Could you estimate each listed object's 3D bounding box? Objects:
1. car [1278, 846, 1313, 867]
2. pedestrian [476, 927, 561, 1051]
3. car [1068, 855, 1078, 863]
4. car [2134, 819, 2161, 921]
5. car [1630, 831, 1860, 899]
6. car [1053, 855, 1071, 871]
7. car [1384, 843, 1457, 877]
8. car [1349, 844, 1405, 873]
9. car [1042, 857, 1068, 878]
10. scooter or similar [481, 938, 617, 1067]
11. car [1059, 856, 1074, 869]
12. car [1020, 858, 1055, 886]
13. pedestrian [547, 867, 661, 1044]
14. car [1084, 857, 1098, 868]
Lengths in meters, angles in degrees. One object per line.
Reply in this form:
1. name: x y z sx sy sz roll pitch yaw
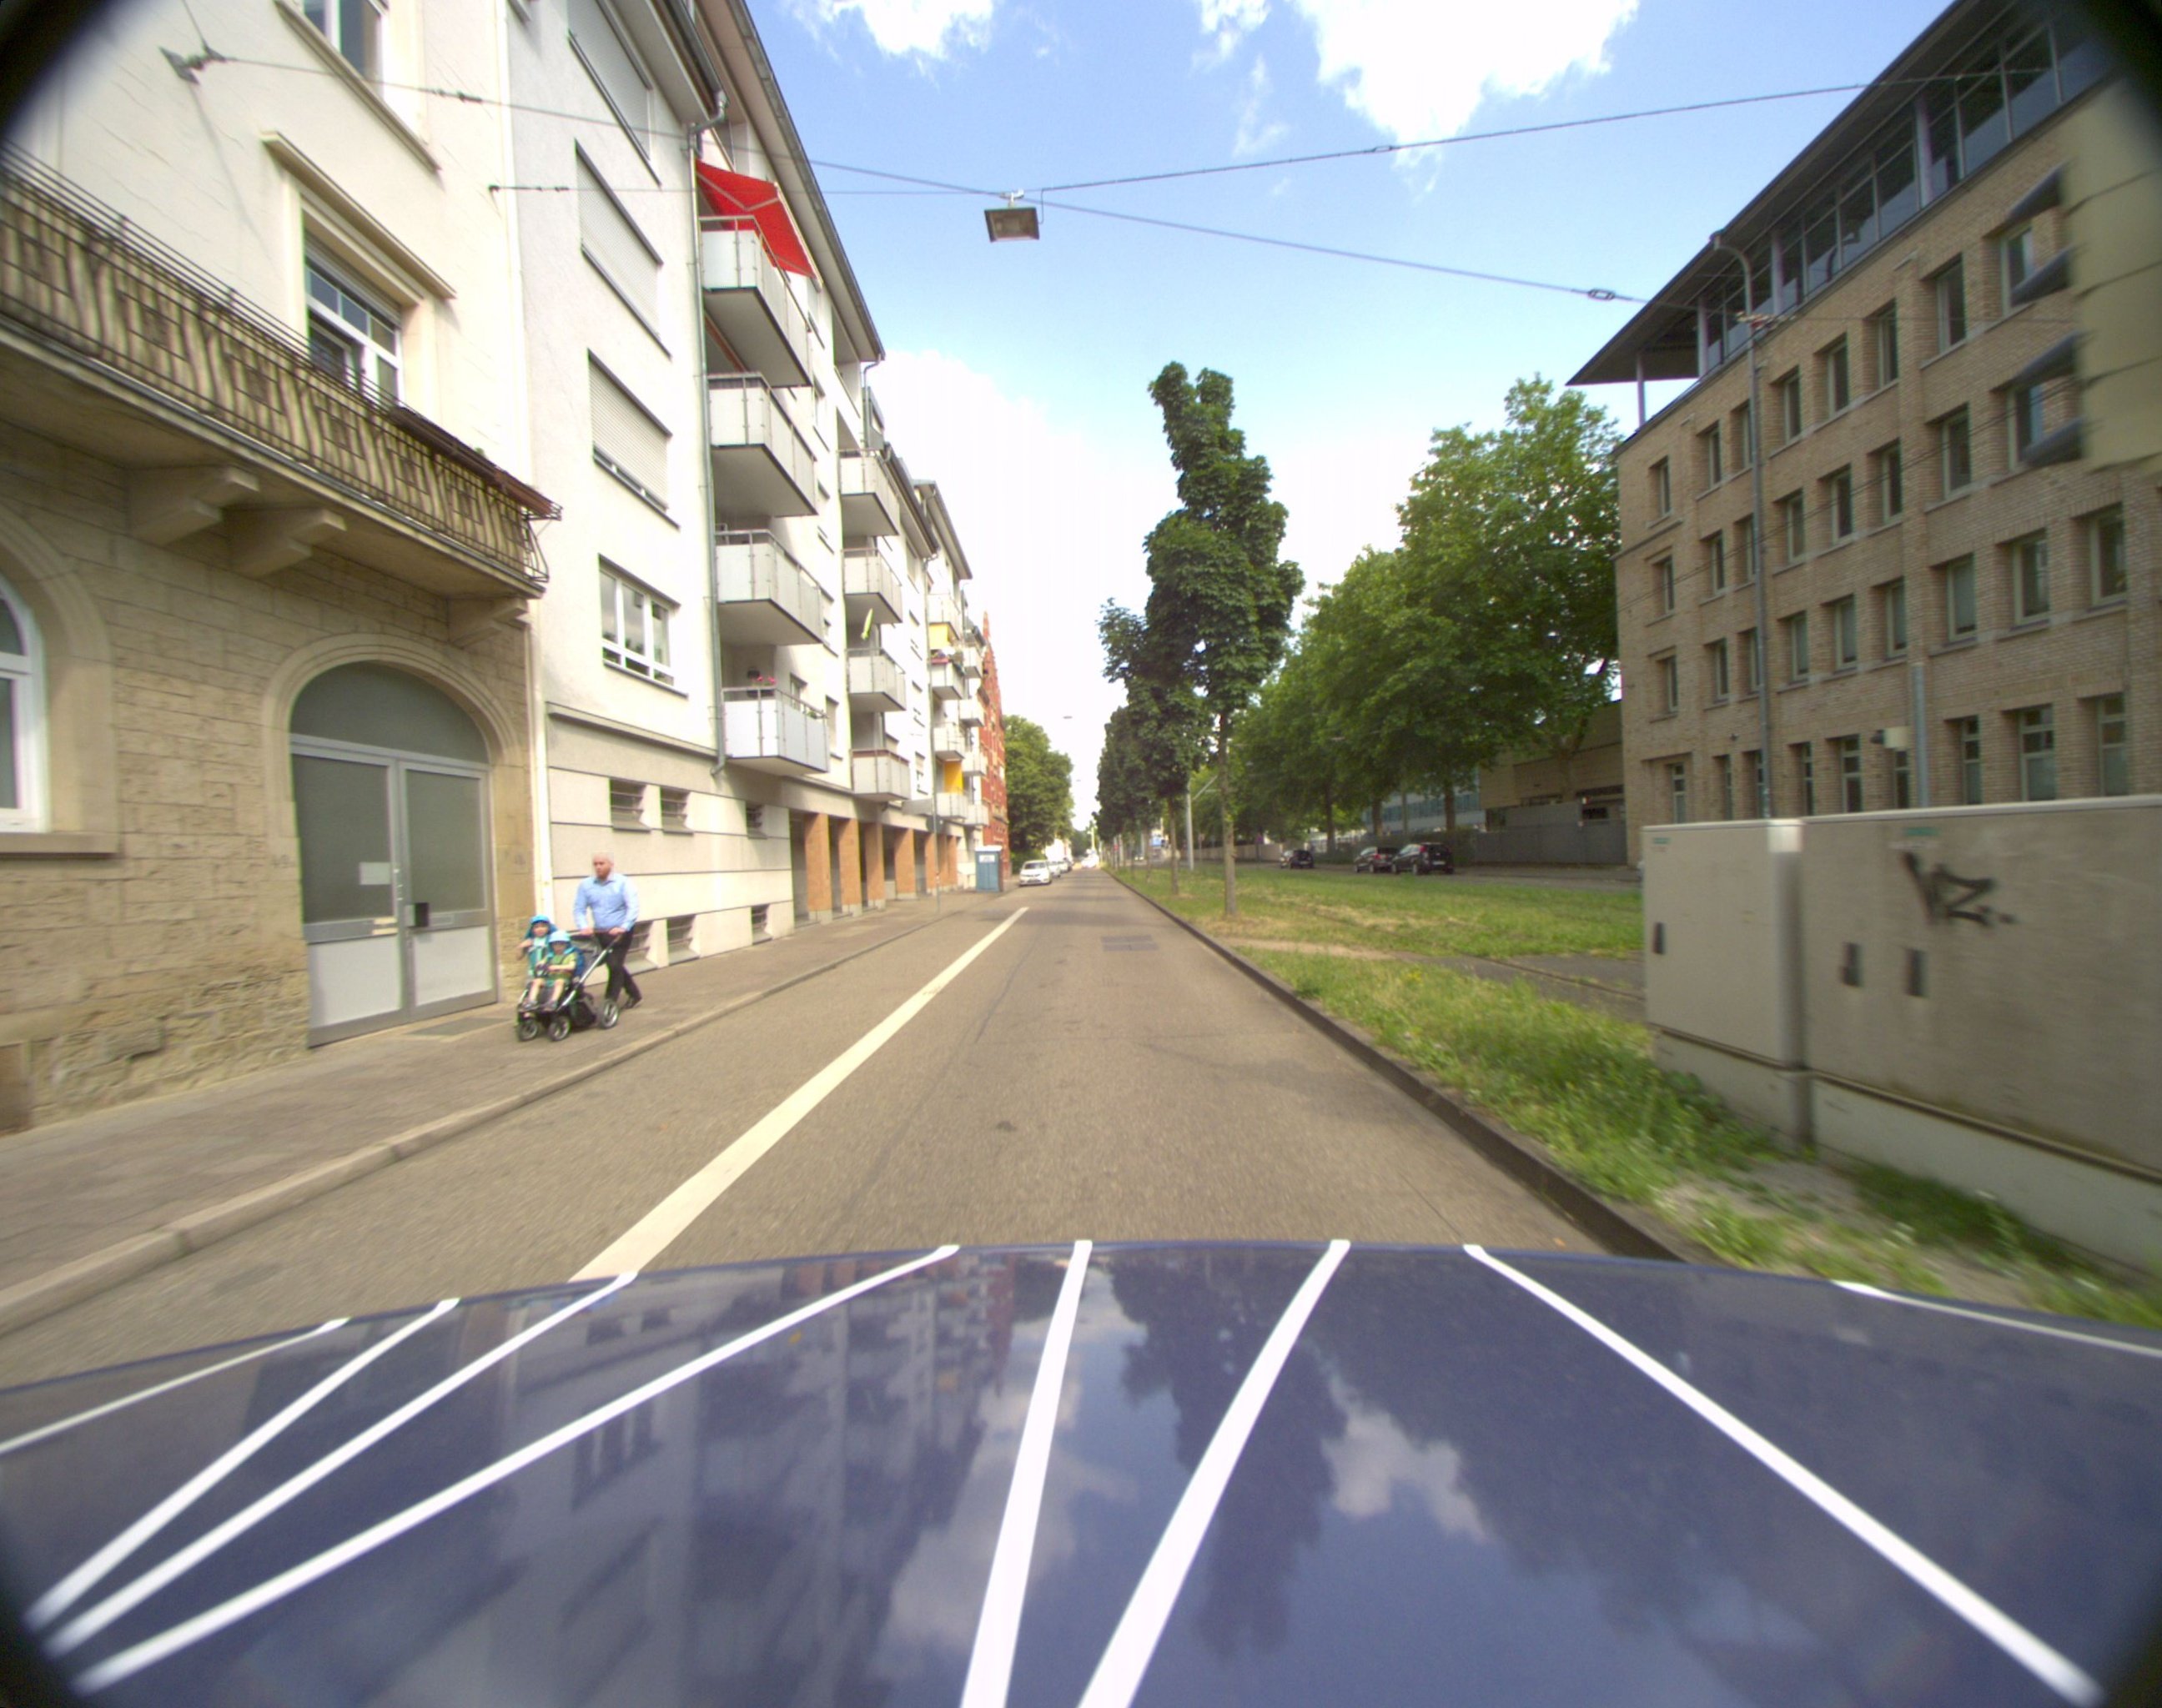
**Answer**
1. car: 16.107 0.186 57.312 1.601 1.455 4.000 -2 0 2
2. pedestrian: -5.521 1.309 7.469 0.457 1.128 0.494 1 1 2
3. car: -1.704 0.970 159.370 1.801 1.521 4.041 -5 0 1
4. car: 15.706 0.184 8.525 1.937 1.388 4.239 -3 0 2
5. car: 15.769 0.228 18.429 1.719 1.388 4.485 -3 0 2
6. car: -2.108 1.002 84.453 1.801 1.521 4.041 -5 0 1
7. car: 15.988 0.242 36.010 1.807 1.444 4.001 -2 0 4
8. car: 16.089 0.230 41.493 1.558 1.417 3.902 -3 0 1
9. car: -2.098 1.064 62.291 1.801 1.521 4.041 -4 0 1
10. scooter or similar: -4.893 1.338 7.042 0.594 0.996 0.905 1 0 2
11. car: -1.893 1.073 101.316 1.801 1.521 4.041 -5 0 1
12. car: -2.589 1.050 46.249 1.801 1.521 4.041 -3 0 1
13. pedestrian: -4.940 1.008 7.921 0.622 1.728 0.877 1 1 2
14. car: 1.492 1.220 112.276 1.800 1.521 4.042 -4 0 5
